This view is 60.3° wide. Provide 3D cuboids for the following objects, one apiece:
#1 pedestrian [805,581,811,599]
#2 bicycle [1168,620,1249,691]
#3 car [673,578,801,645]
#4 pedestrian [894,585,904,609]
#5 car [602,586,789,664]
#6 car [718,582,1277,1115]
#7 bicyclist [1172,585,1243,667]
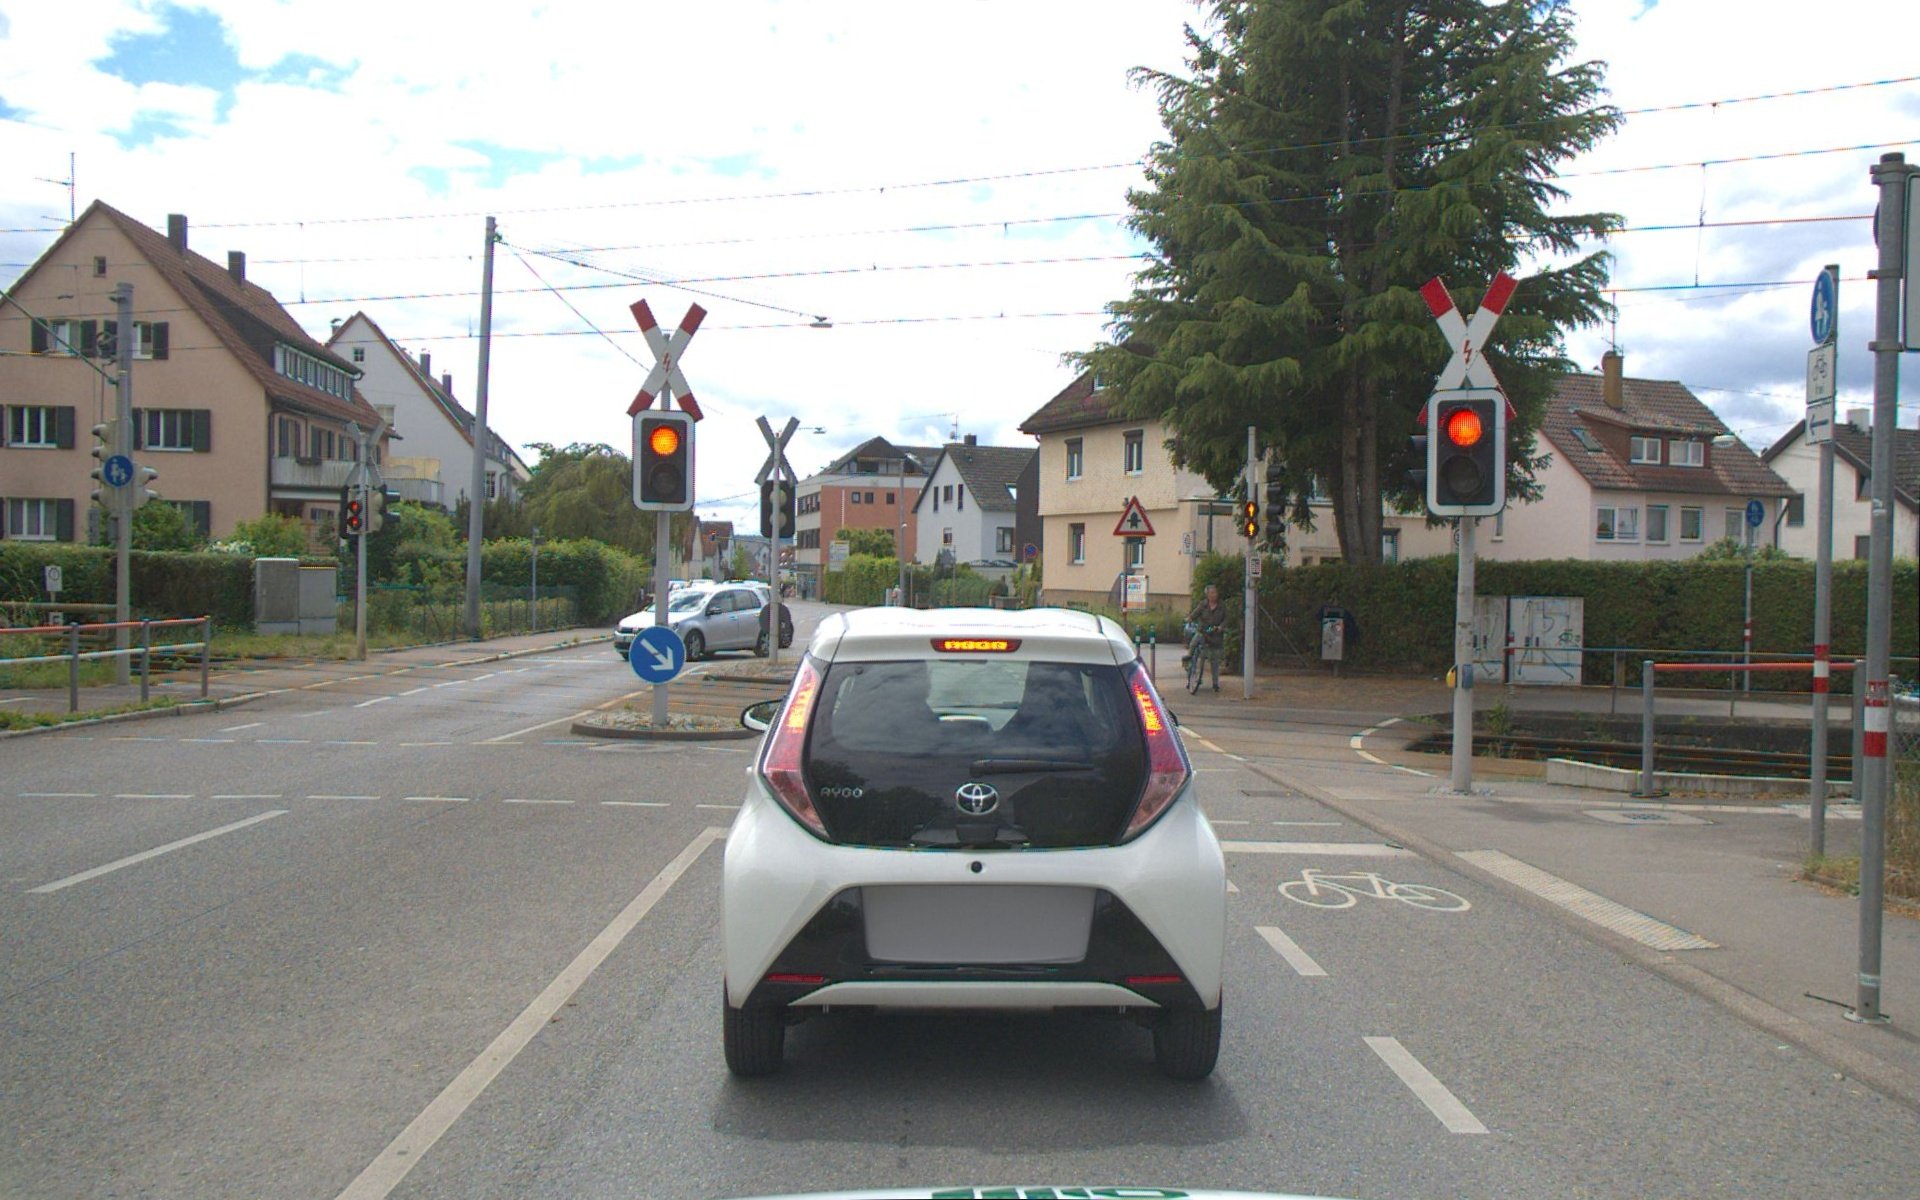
[{"bbox_3d":[-13.023,-0.867,141.454,0.406,1.463,0.436,1,0,-11],"label":"pedestrian"},{"bbox_3d":[3.980,0.863,26.390,0.912,1.058,1.915,0,0,20],"label":"bicycle"},{"bbox_3d":[-5.445,0.291,40.505,1.551,1.536,2.772,1,0,41],"label":"car"},{"bbox_3d":[-3.713,-0.170,101.138,0.407,1.463,0.435,2,1,41],"label":"pedestrian"},{"bbox_3d":[-5.425,0.465,34.416,1.657,1.483,4.062,1,1,30],"label":"car"},{"bbox_3d":[0.082,0.722,6.732,1.588,1.512,3.999,1,0,-1],"label":"car"},{"bbox_3d":[3.947,0.407,26.299,0.912,1.269,1.102,0,0,21],"label":"bicyclist"}]
